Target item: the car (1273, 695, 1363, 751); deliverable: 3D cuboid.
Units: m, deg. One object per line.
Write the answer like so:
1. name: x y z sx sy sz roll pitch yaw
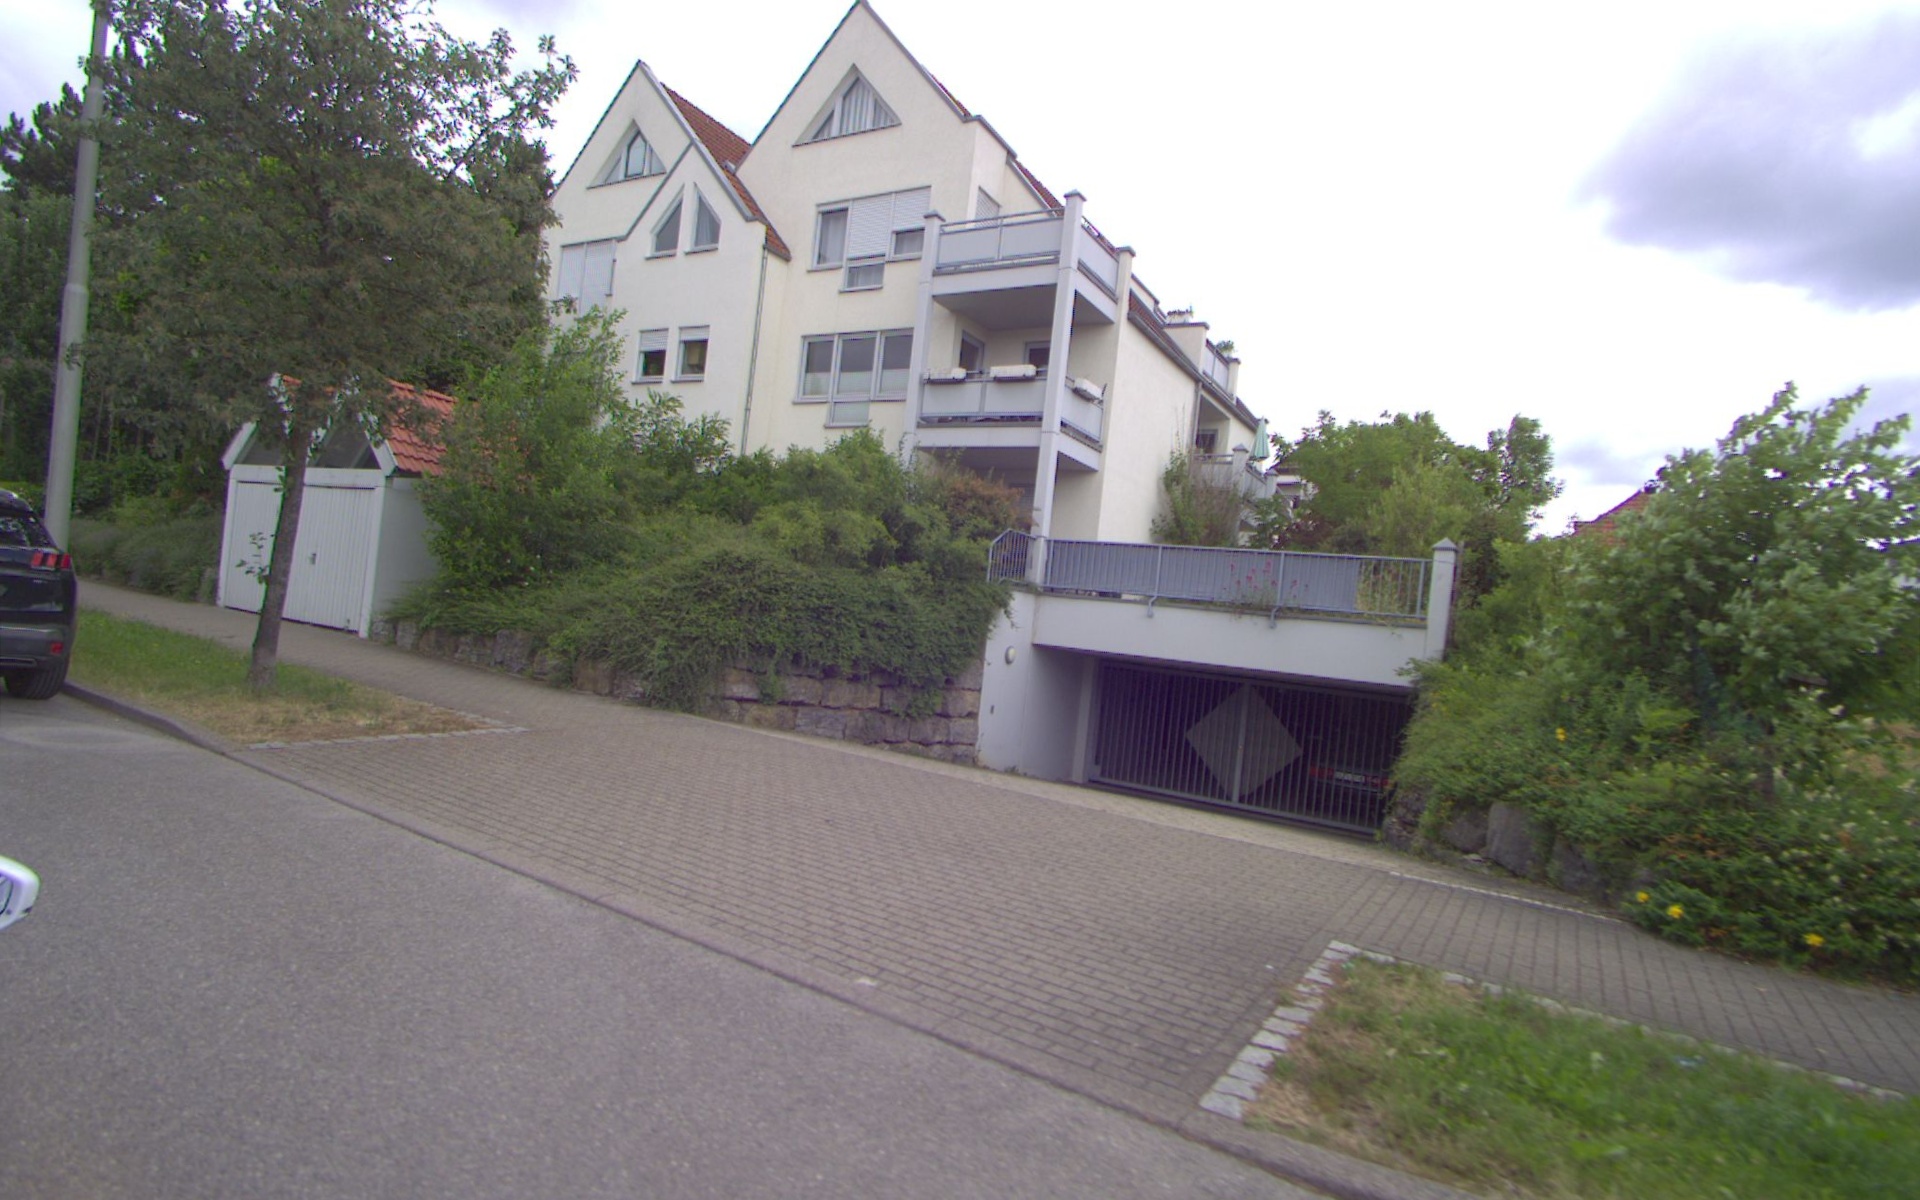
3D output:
1. car: 12.158 4.168 33.980 1.967 1.496 3.996 6 -3 32

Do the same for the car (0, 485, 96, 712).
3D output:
1. car: -8.856 -0.240 8.014 4.041 1.627 1.692 6 -2 31

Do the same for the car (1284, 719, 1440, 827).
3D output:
1. car: 7.659 3.166 18.936 1.967 1.496 3.996 6 -3 32
